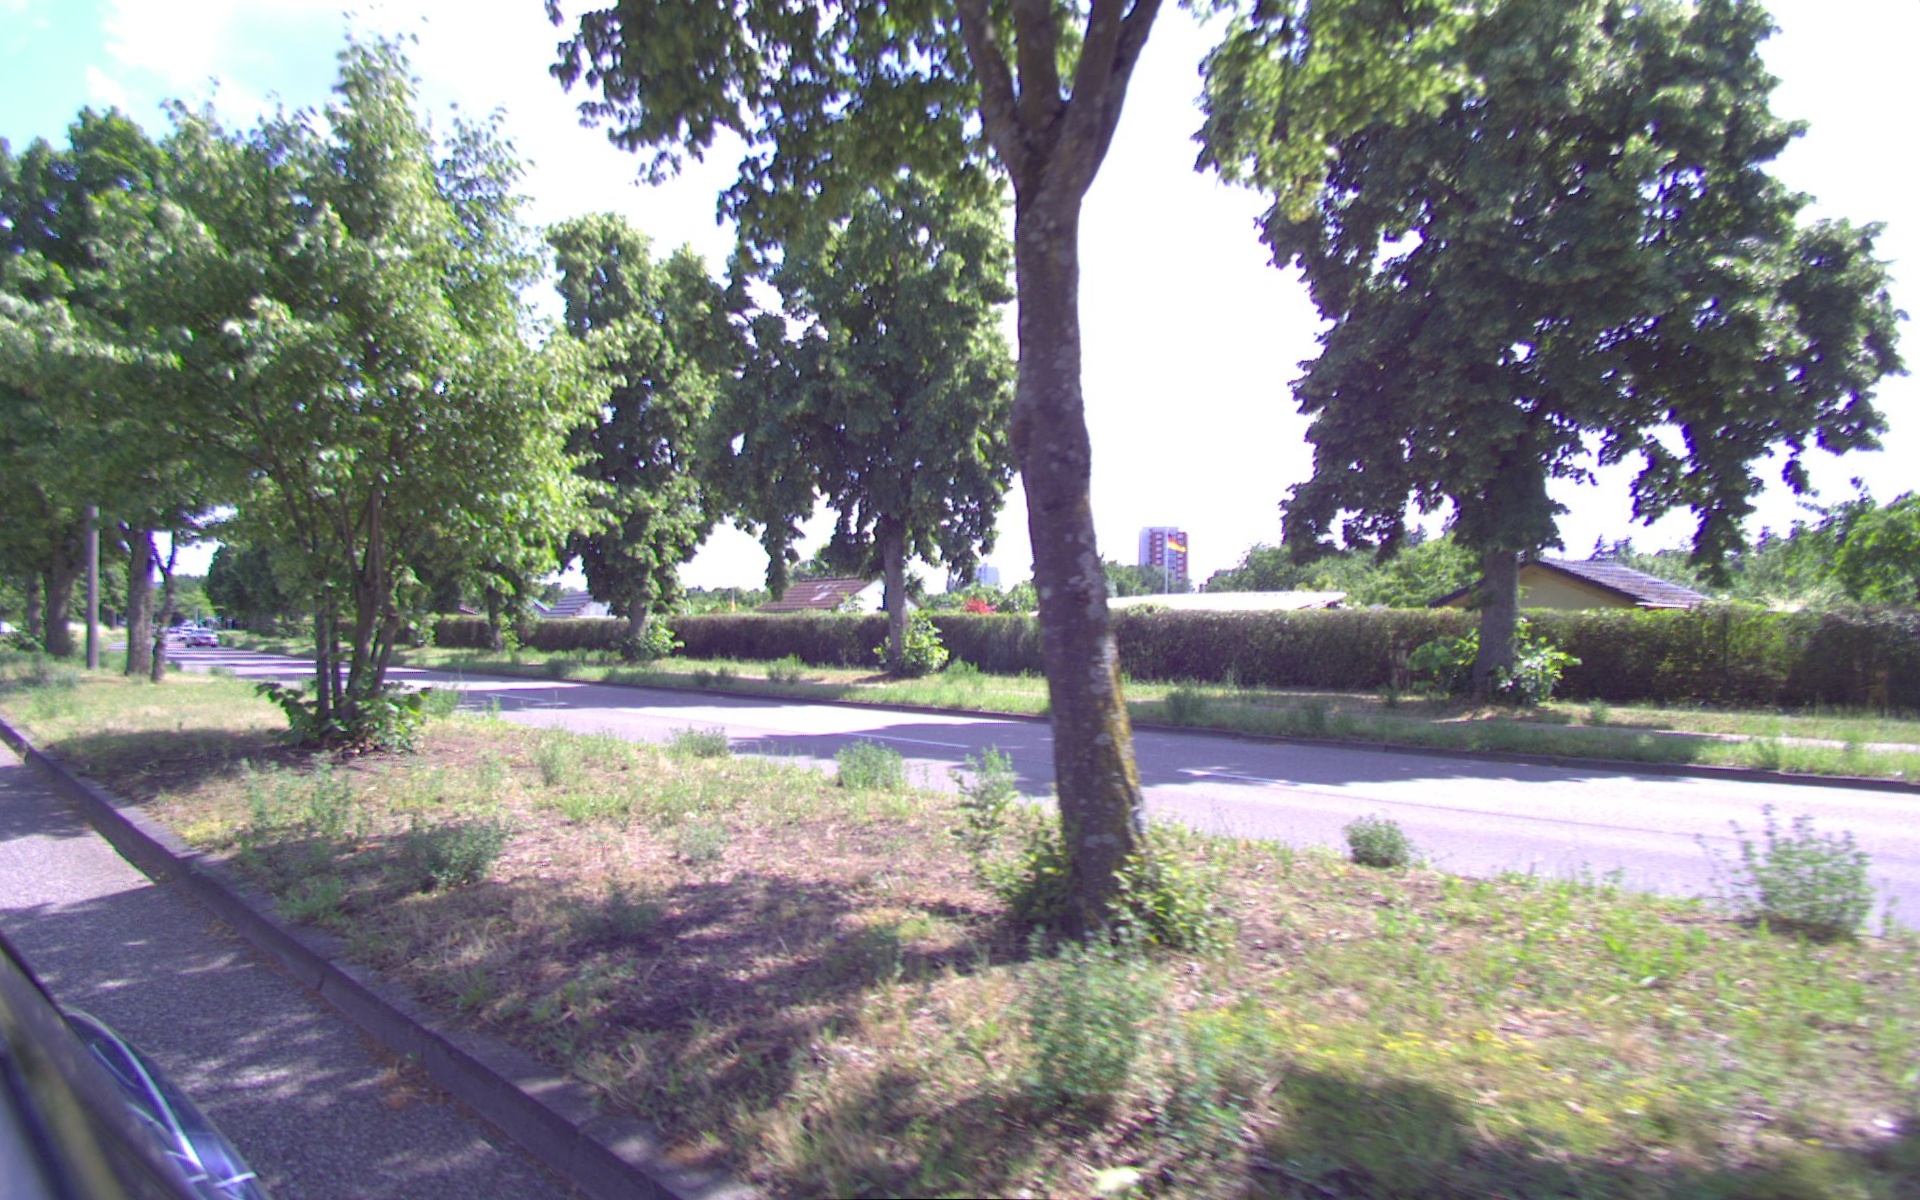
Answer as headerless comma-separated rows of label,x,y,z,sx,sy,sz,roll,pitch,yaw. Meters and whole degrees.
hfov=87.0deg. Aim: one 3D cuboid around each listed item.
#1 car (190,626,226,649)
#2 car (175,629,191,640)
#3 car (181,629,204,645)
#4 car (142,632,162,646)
car,-54.489,2.735,73.294,1.715,1.598,4.118,3,-3,-41
car,-111.101,4.905,144.722,1.714,1.598,4.121,3,-3,-37
car,-77.674,3.750,102.422,1.714,1.598,4.121,3,-3,-37
car,-97.444,4.708,122.115,1.714,1.598,4.121,3,-3,-37
